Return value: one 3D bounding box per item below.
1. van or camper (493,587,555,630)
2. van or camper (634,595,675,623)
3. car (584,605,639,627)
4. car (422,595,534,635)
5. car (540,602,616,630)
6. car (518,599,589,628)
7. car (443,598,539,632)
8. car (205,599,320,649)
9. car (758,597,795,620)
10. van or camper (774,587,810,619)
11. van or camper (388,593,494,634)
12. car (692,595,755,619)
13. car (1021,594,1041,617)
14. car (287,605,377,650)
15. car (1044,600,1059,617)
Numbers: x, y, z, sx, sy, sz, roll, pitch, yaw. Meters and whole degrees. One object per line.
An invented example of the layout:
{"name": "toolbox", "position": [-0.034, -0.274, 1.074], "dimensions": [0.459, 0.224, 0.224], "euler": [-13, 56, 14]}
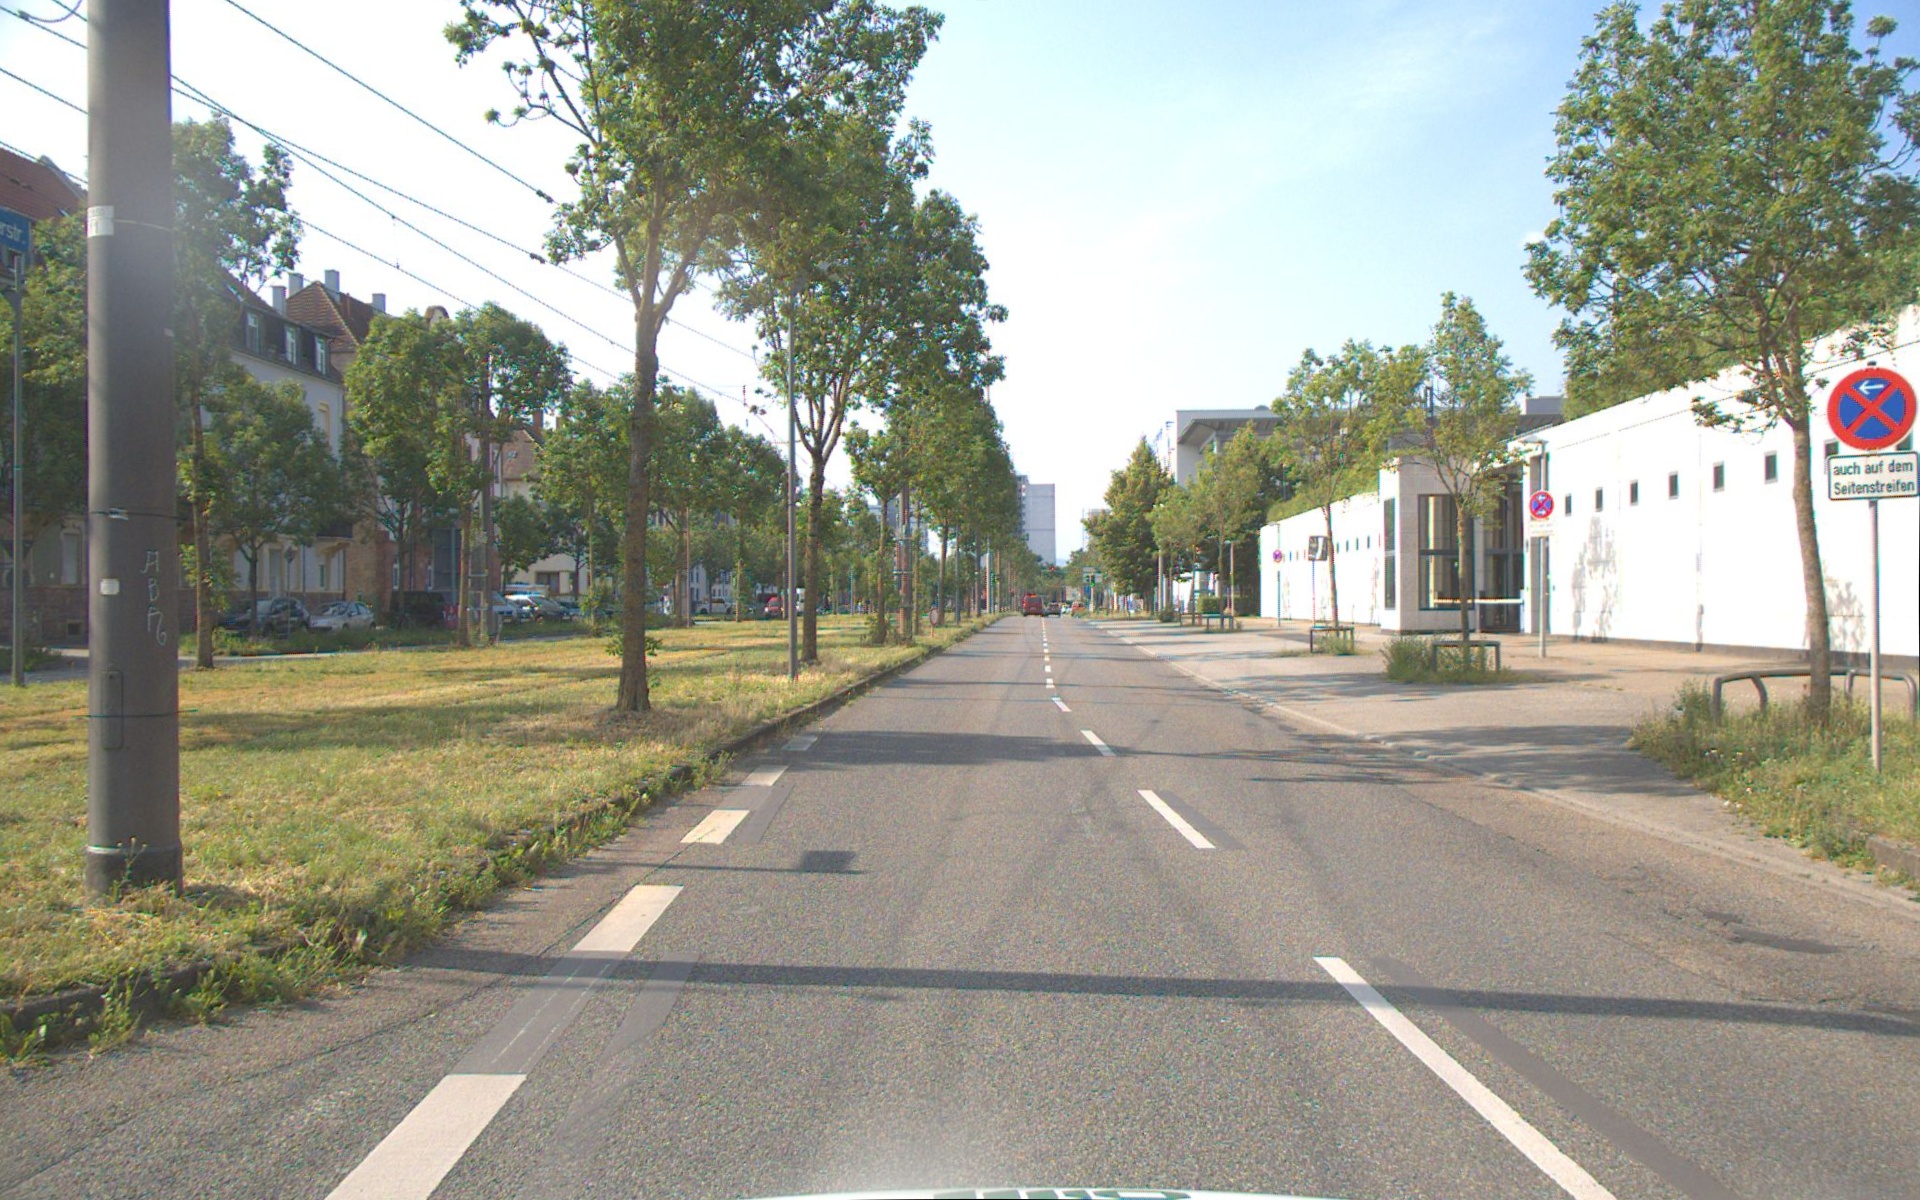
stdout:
{"name": "van or camper", "position": [-27.597, 0.558, 104.884], "dimensions": [1.996, 2.612, 6.358], "euler": [2, -1, 2]}
{"name": "van or camper", "position": [-26.284, 0.795, 142.579], "dimensions": [1.951, 2.369, 5.831], "euler": [2, -1, 5]}
{"name": "car", "position": [-20.738, 0.956, 98.428], "dimensions": [3.101, 1.181, 1.491], "euler": [1, -1, 35]}
{"name": "car", "position": [-21.942, 0.672, 75.255], "dimensions": [5.113, 1.652, 2.051], "euler": [1, -1, 33]}
{"name": "car", "position": [-21.148, 0.896, 91.637], "dimensions": [3.906, 1.442, 1.576], "euler": [1, -1, 23]}
{"name": "car", "position": [-21.910, 0.735, 89.117], "dimensions": [3.922, 1.442, 1.570], "euler": [1, -1, 38]}
{"name": "car", "position": [-22.202, 0.695, 78.263], "dimensions": [4.384, 1.444, 1.969], "euler": [1, -1, 34]}
{"name": "car", "position": [-24.960, 0.831, 59.390], "dimensions": [1.952, 1.657, 4.776], "euler": [2, 0, 1]}
{"name": "car", "position": [-14.551, 0.699, 131.477], "dimensions": [1.923, 1.723, 4.300], "euler": [2, -1, 6]}
{"name": "van or camper", "position": [-14.016, 0.274, 138.484], "dimensions": [2.157, 2.575, 6.031], "euler": [2, -1, 2]}
{"name": "van or camper", "position": [-22.872, 0.578, 72.798], "dimensions": [4.753, 1.652, 1.995], "euler": [1, -1, 36]}
{"name": "car", "position": [-19.626, 0.577, 137.196], "dimensions": [5.222, 1.768, 1.992], "euler": [1, -1, 37]}
{"name": "car", "position": [6.675, 0.541, 154.658], "dimensions": [1.711, 2.049, 3.217], "euler": [2, -1, 4]}
{"name": "car", "position": [-24.733, 1.052, 65.280], "dimensions": [1.851, 1.657, 4.157], "euler": [2, 0, 2]}
{"name": "car", "position": [11.377, 1.077, 205.064], "dimensions": [1.711, 2.049, 3.217], "euler": [2, -1, 4]}
